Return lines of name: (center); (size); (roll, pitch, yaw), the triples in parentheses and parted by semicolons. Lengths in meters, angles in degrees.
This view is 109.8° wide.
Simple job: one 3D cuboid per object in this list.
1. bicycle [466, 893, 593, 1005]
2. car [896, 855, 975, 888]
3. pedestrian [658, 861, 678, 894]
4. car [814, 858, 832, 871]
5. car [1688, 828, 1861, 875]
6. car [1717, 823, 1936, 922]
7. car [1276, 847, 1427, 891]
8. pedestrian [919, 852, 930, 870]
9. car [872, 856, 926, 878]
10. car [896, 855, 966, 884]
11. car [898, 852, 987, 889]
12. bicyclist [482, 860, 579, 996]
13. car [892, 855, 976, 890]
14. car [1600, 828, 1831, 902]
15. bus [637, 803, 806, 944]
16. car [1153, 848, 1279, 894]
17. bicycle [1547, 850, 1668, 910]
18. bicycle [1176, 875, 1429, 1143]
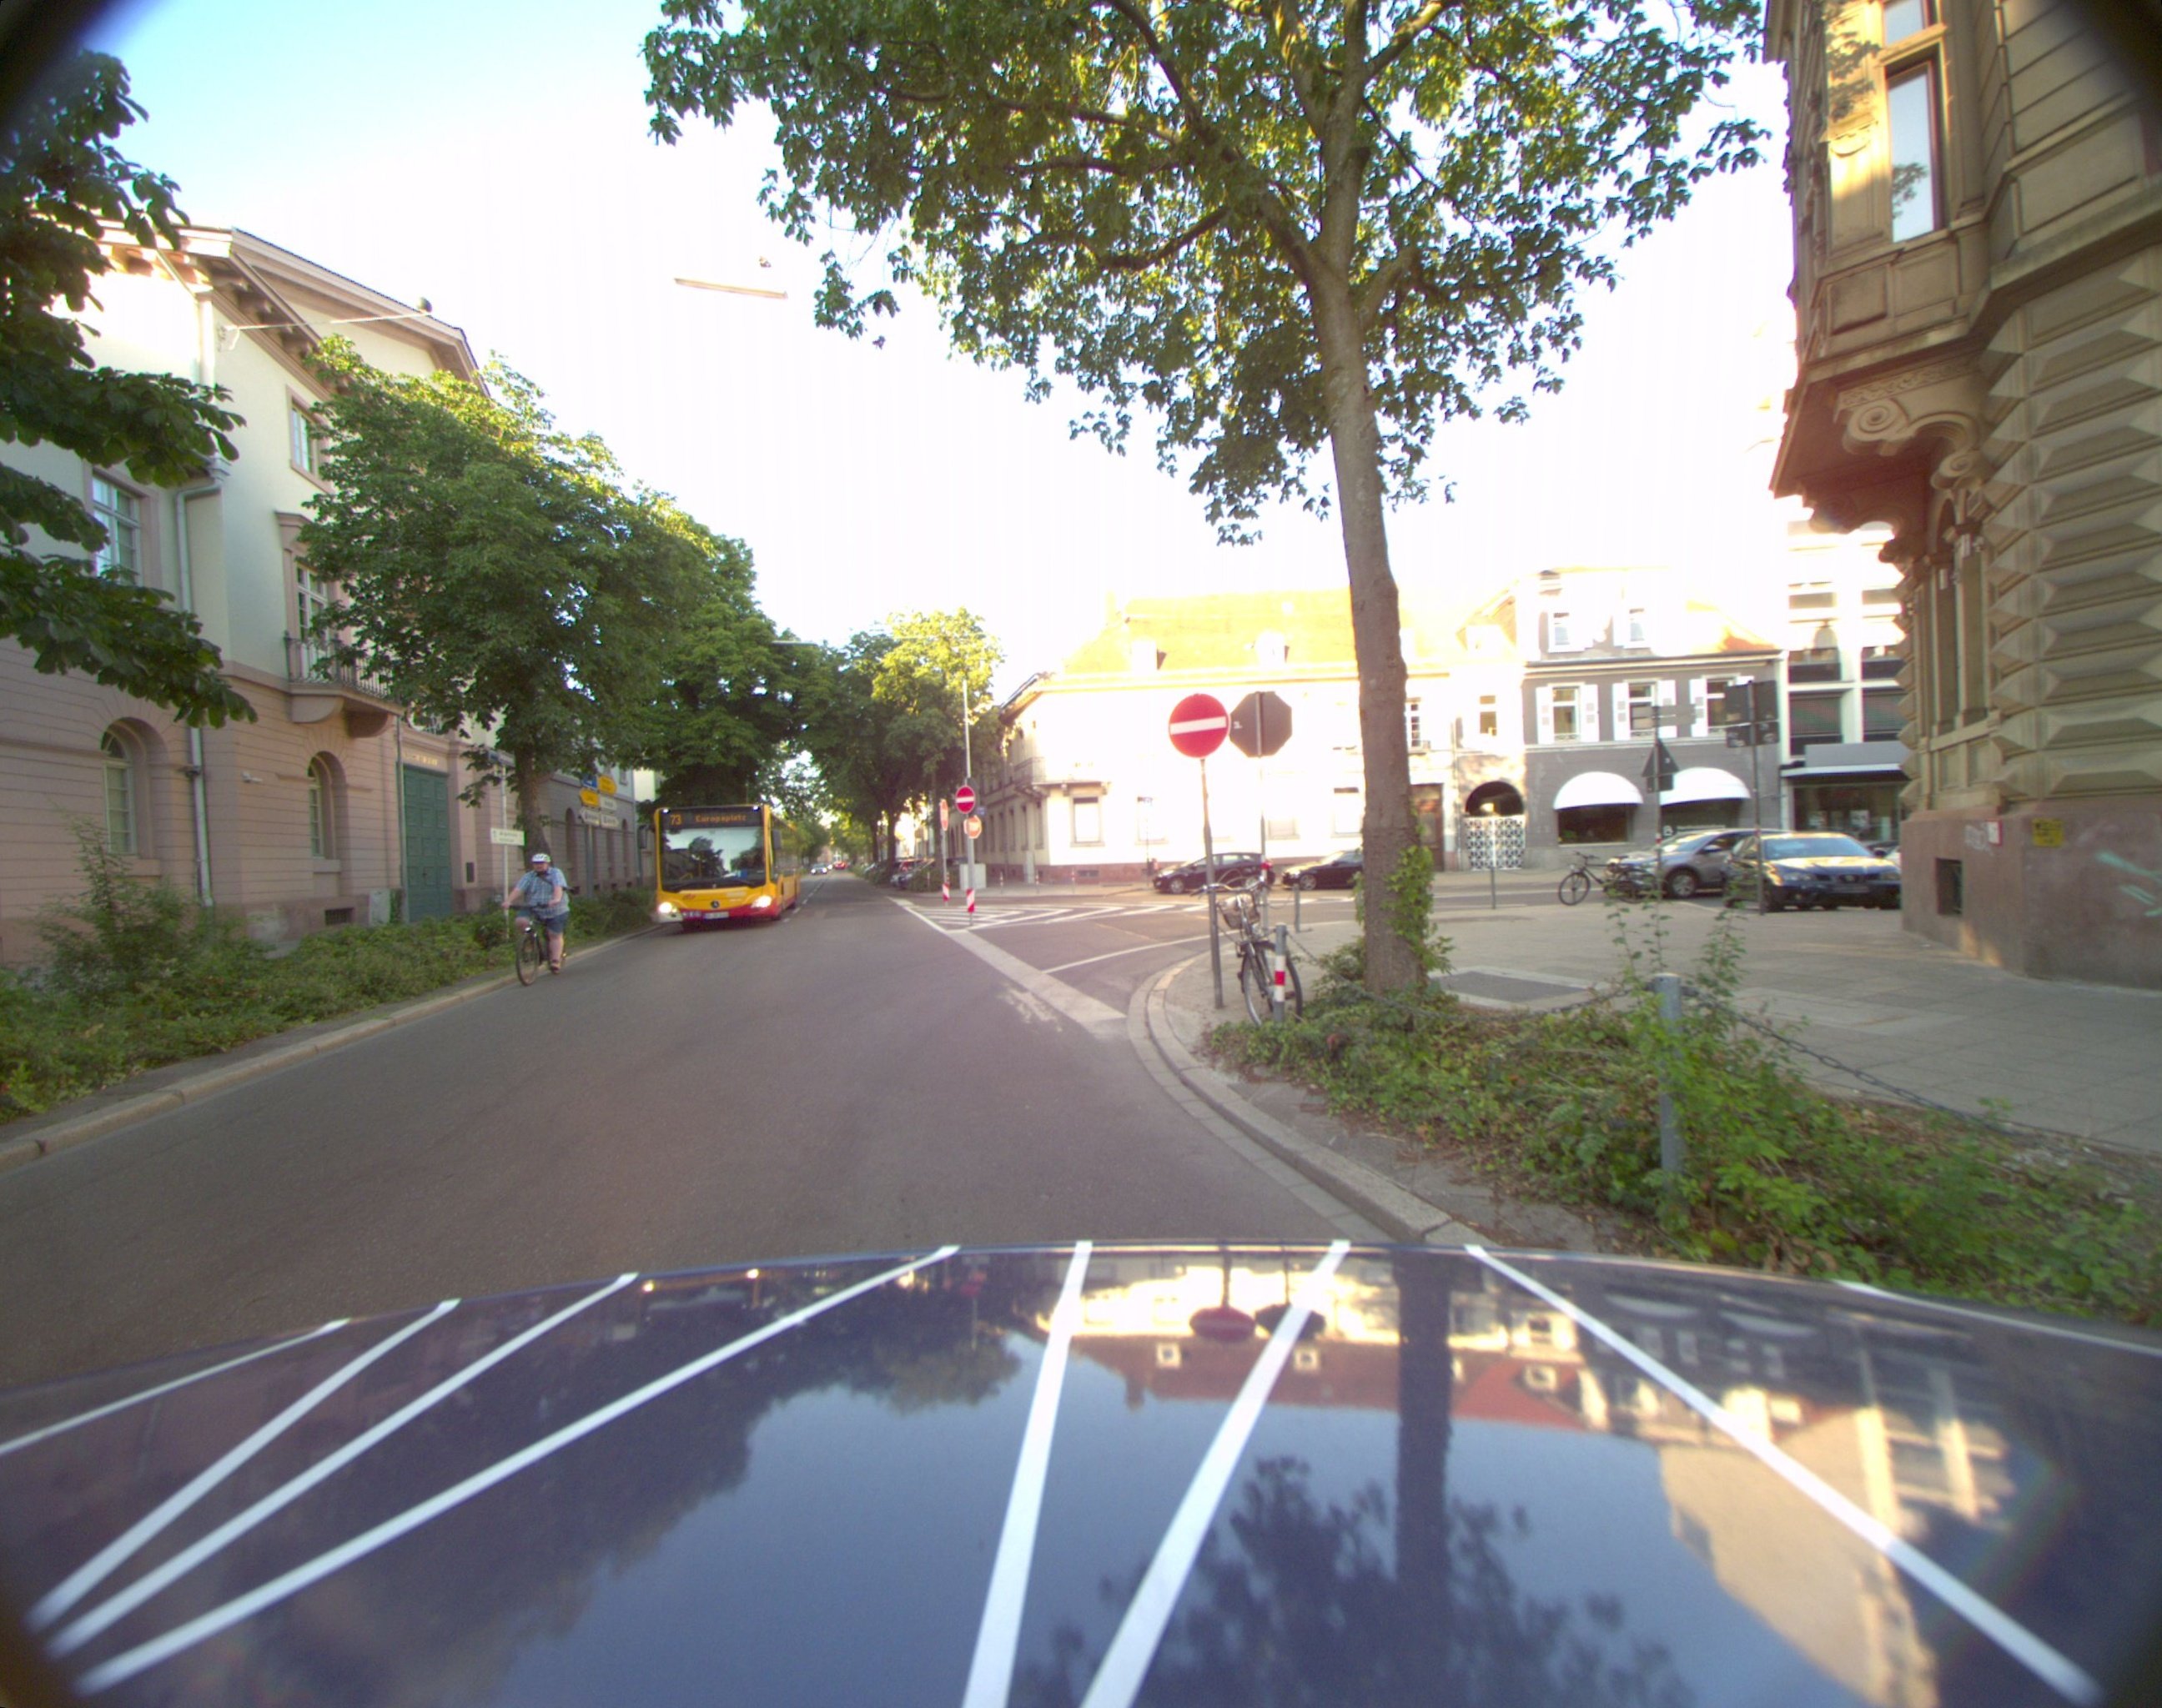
bicycle: (-7.957, 1.300, 11.086); (0.784, 1.322, 2.075); (-4, 1, -17)
car: (-8.032, 0.925, 41.875); (4.003, 1.606, 1.721); (-2, 1, -19)
pedestrian: (-23.947, 1.359, 44.080); (0.801, 1.821, 0.928); (-2, 1, -20)
car: (-35.243, 1.393, 103.704); (2.084, 1.687, 3.994); (-2, 0, -16)
car: (24.154, -0.101, 26.596); (4.244, 1.438, 1.748); (-2, 0, 5)
car: (12.657, 0.354, 13.212); (1.736, 1.452, 3.872); (-2, -3, 29)
car: (9.715, 0.530, 27.588); (4.851, 1.386, 1.780); (-2, 0, 7)
pedestrian: (-15.776, 0.748, 76.387); (0.896, 1.760, 1.020); (-2, 1, -18)
car: (-14.530, 1.011, 60.779); (4.003, 1.606, 1.721); (-2, 1, -19)
car: (-9.402, 0.940, 47.546); (4.003, 1.606, 1.721); (-2, 1, -19)
car: (-6.807, 0.797, 37.203); (4.003, 1.606, 1.826); (-2, 1, -19)
bicyclist: (-7.966, 1.033, 11.042); (0.784, 1.829, 0.825); (-4, 2, -18)
car: (-7.628, 0.911, 39.457); (4.003, 1.606, 1.721); (-2, 1, -19)
car: (15.184, 0.244, 18.324); (4.235, 1.580, 1.690); (-2, 1, -2)
bus: (-10.118, 0.443, 22.847); (2.715, 2.983, 12.064); (-4, 1, -17)
car: (4.902, 0.614, 28.141); (4.425, 1.532, 1.808); (-2, 0, 5)
bicycle: (10.505, 0.532, 15.218); (1.800, 1.119, 0.729); (-2, -2, 14)
bicycle: (1.285, 0.818, 5.127); (0.845, 1.260, 2.572); (-2, 0, -2)
